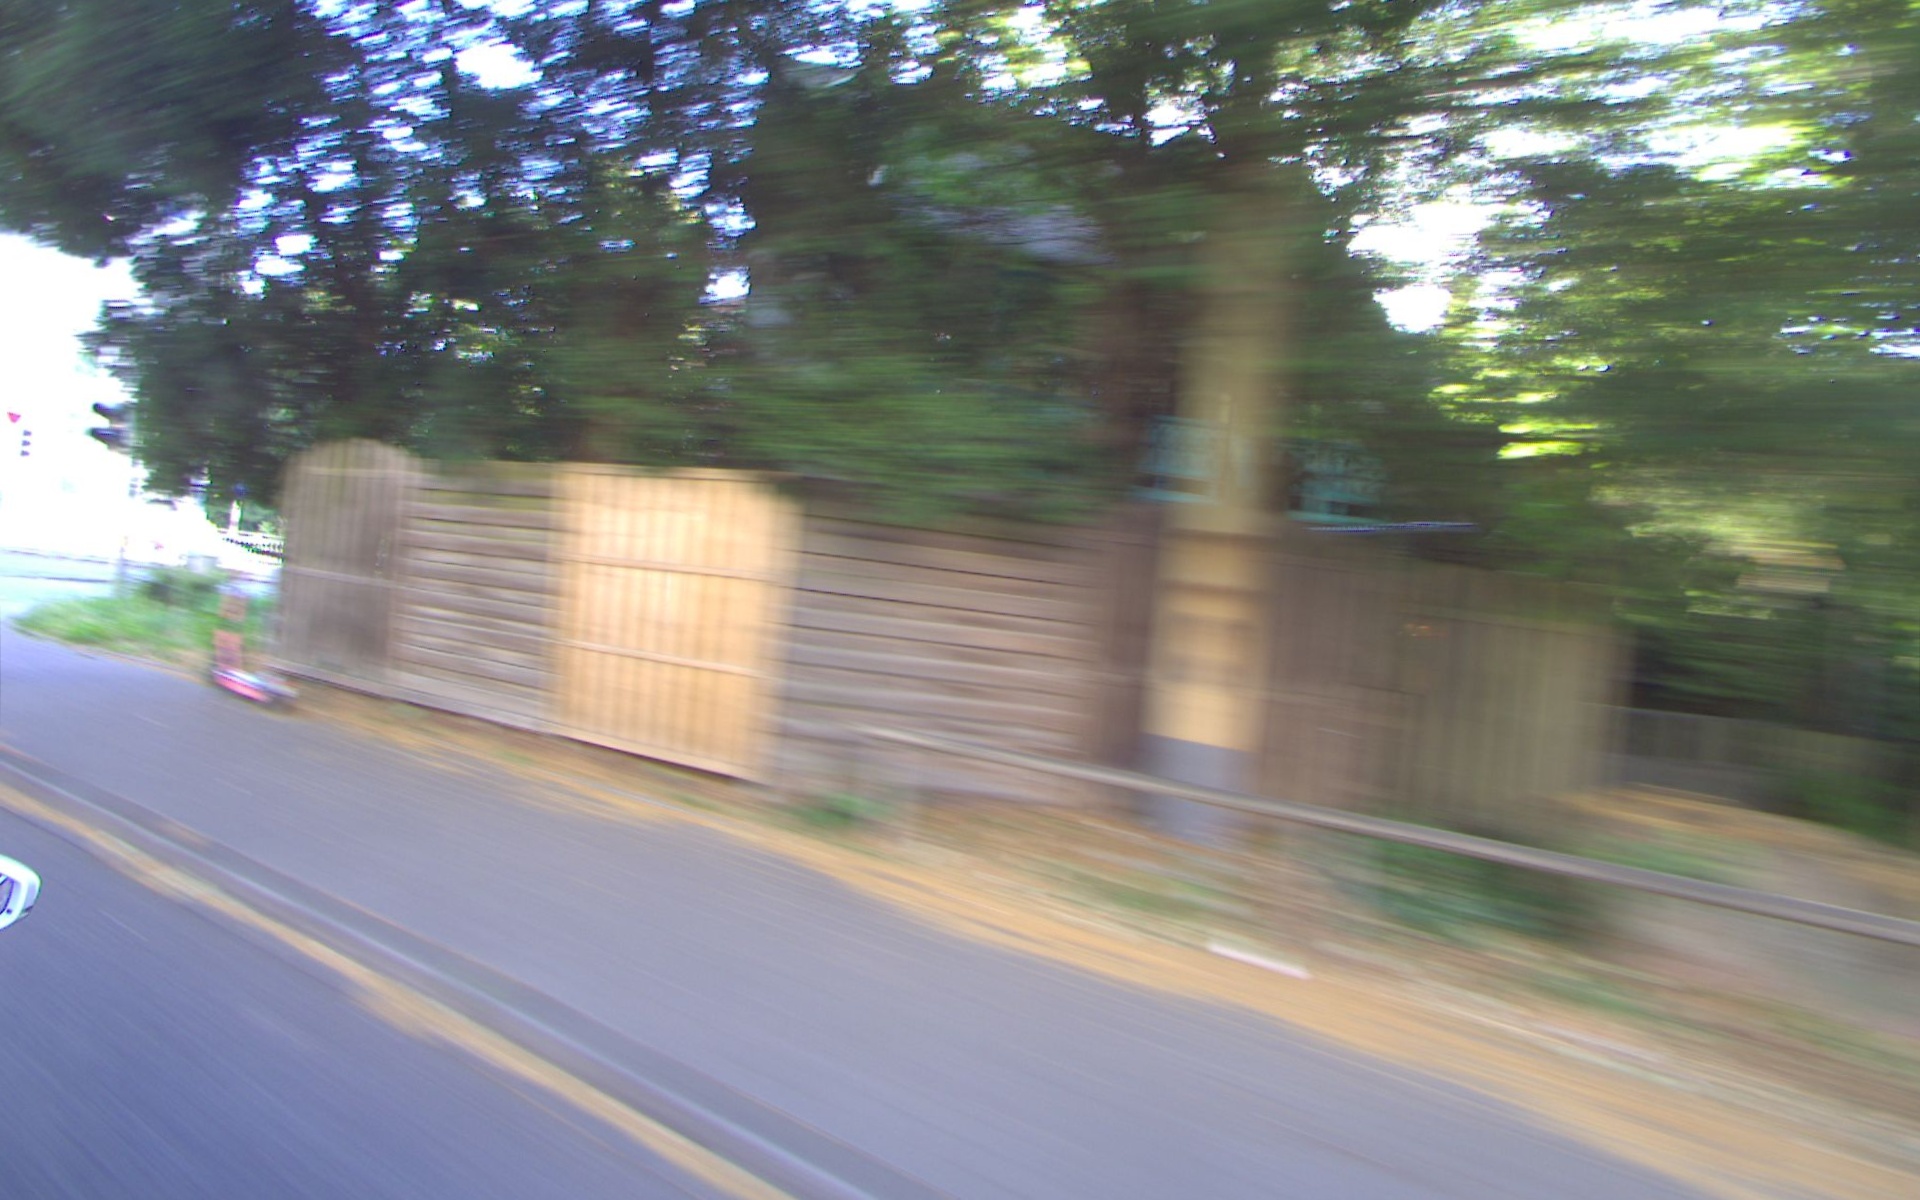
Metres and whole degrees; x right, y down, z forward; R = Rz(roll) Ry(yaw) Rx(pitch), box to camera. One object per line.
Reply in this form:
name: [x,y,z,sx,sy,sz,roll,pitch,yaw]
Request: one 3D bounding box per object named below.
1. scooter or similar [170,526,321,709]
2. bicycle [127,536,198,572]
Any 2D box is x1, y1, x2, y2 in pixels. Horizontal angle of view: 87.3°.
scooter or similar: [-5.346,0.108,7.513,1.238,1.218,0.438,6,2,33]
bicycle: [-30.309,-1.734,38.252,1.897,1.080,0.613,9,-2,-21]
